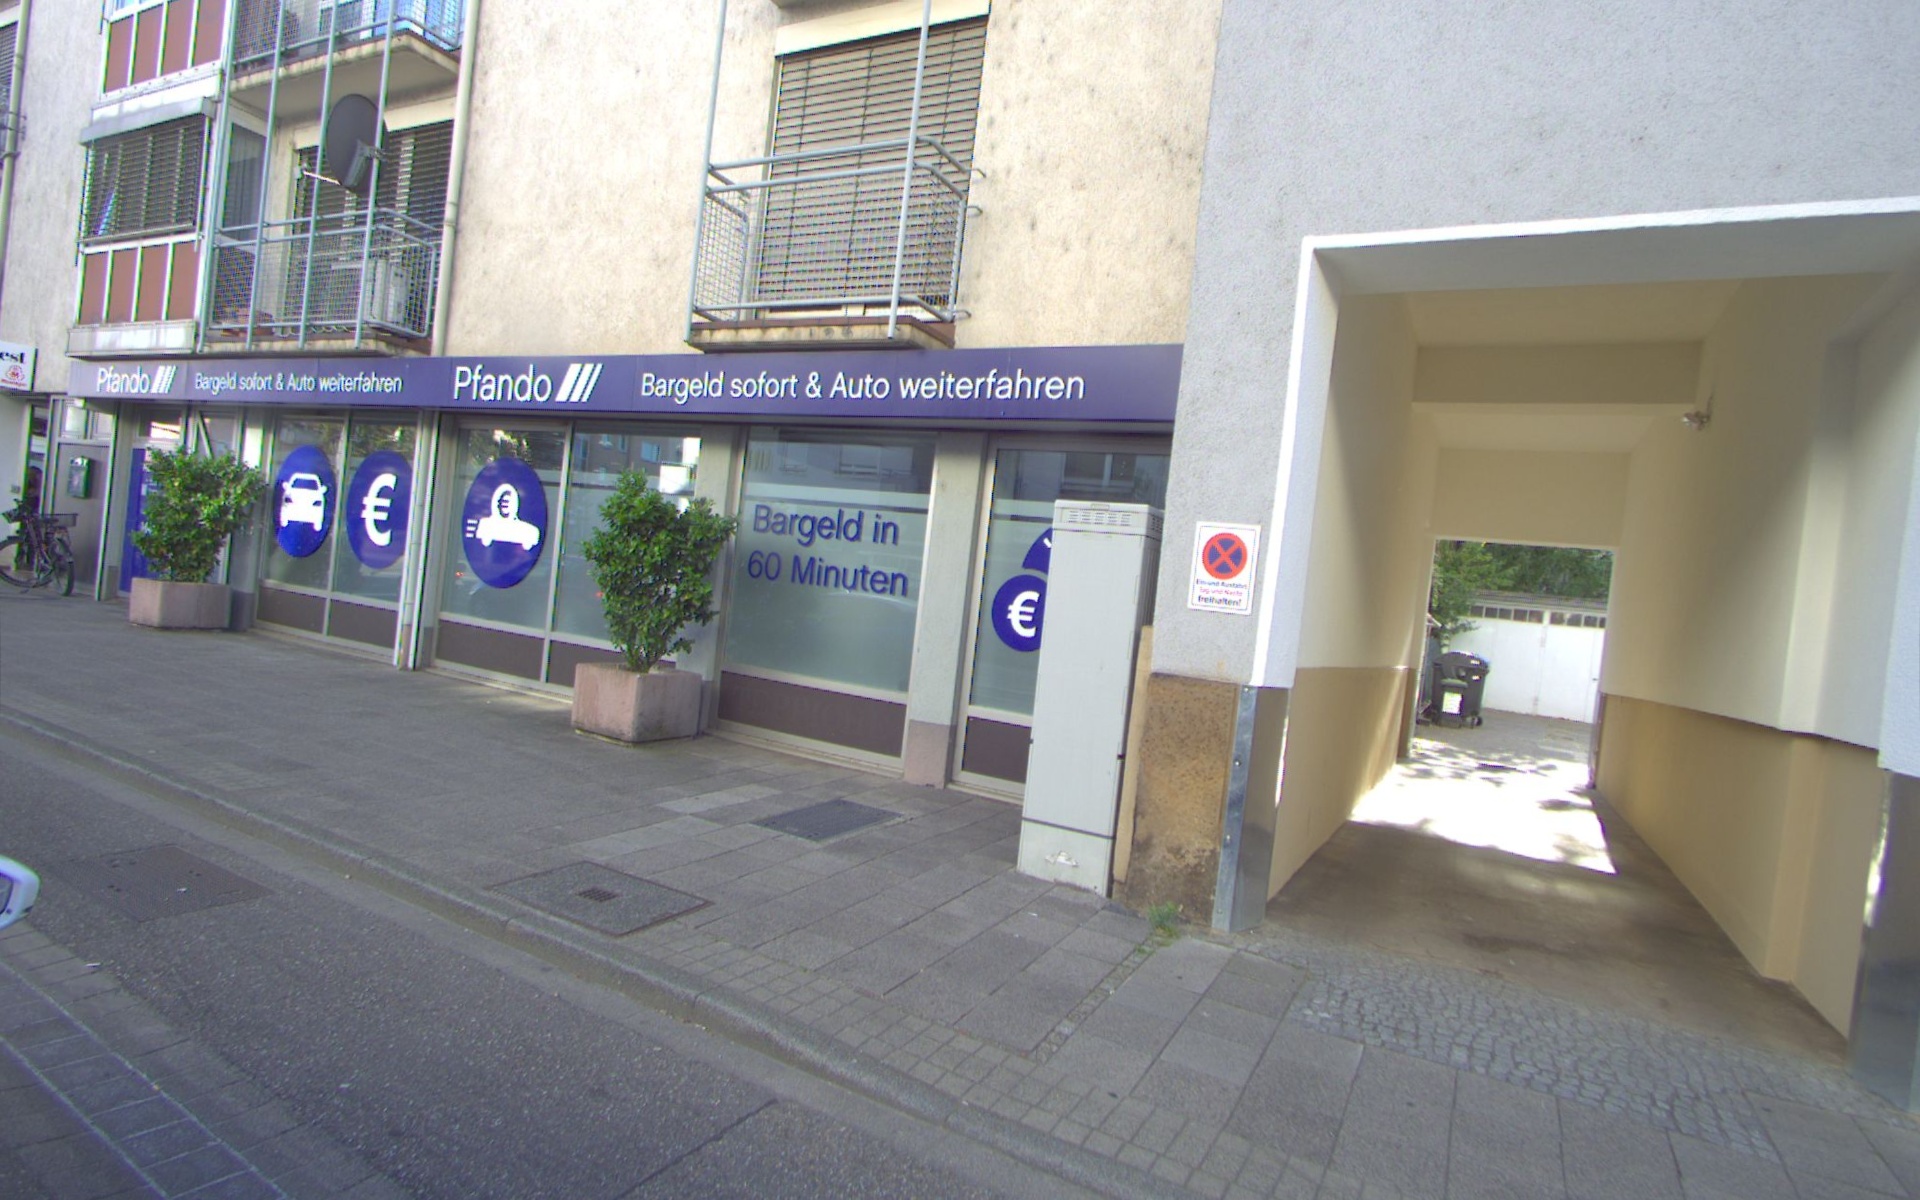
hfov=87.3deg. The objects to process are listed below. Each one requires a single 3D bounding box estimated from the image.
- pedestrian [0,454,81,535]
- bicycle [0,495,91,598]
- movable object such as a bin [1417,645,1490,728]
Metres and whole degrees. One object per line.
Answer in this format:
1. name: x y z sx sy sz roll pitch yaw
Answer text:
1. pedestrian: -14.214 -1.613 15.532 0.667 1.102 0.624 7 2 -5
2. bicycle: -11.897 -0.705 12.890 1.747 1.176 0.497 6 0 29
3. movable object such as a bin: 10.016 1.759 20.404 1.092 1.511 1.329 6 -2 30
